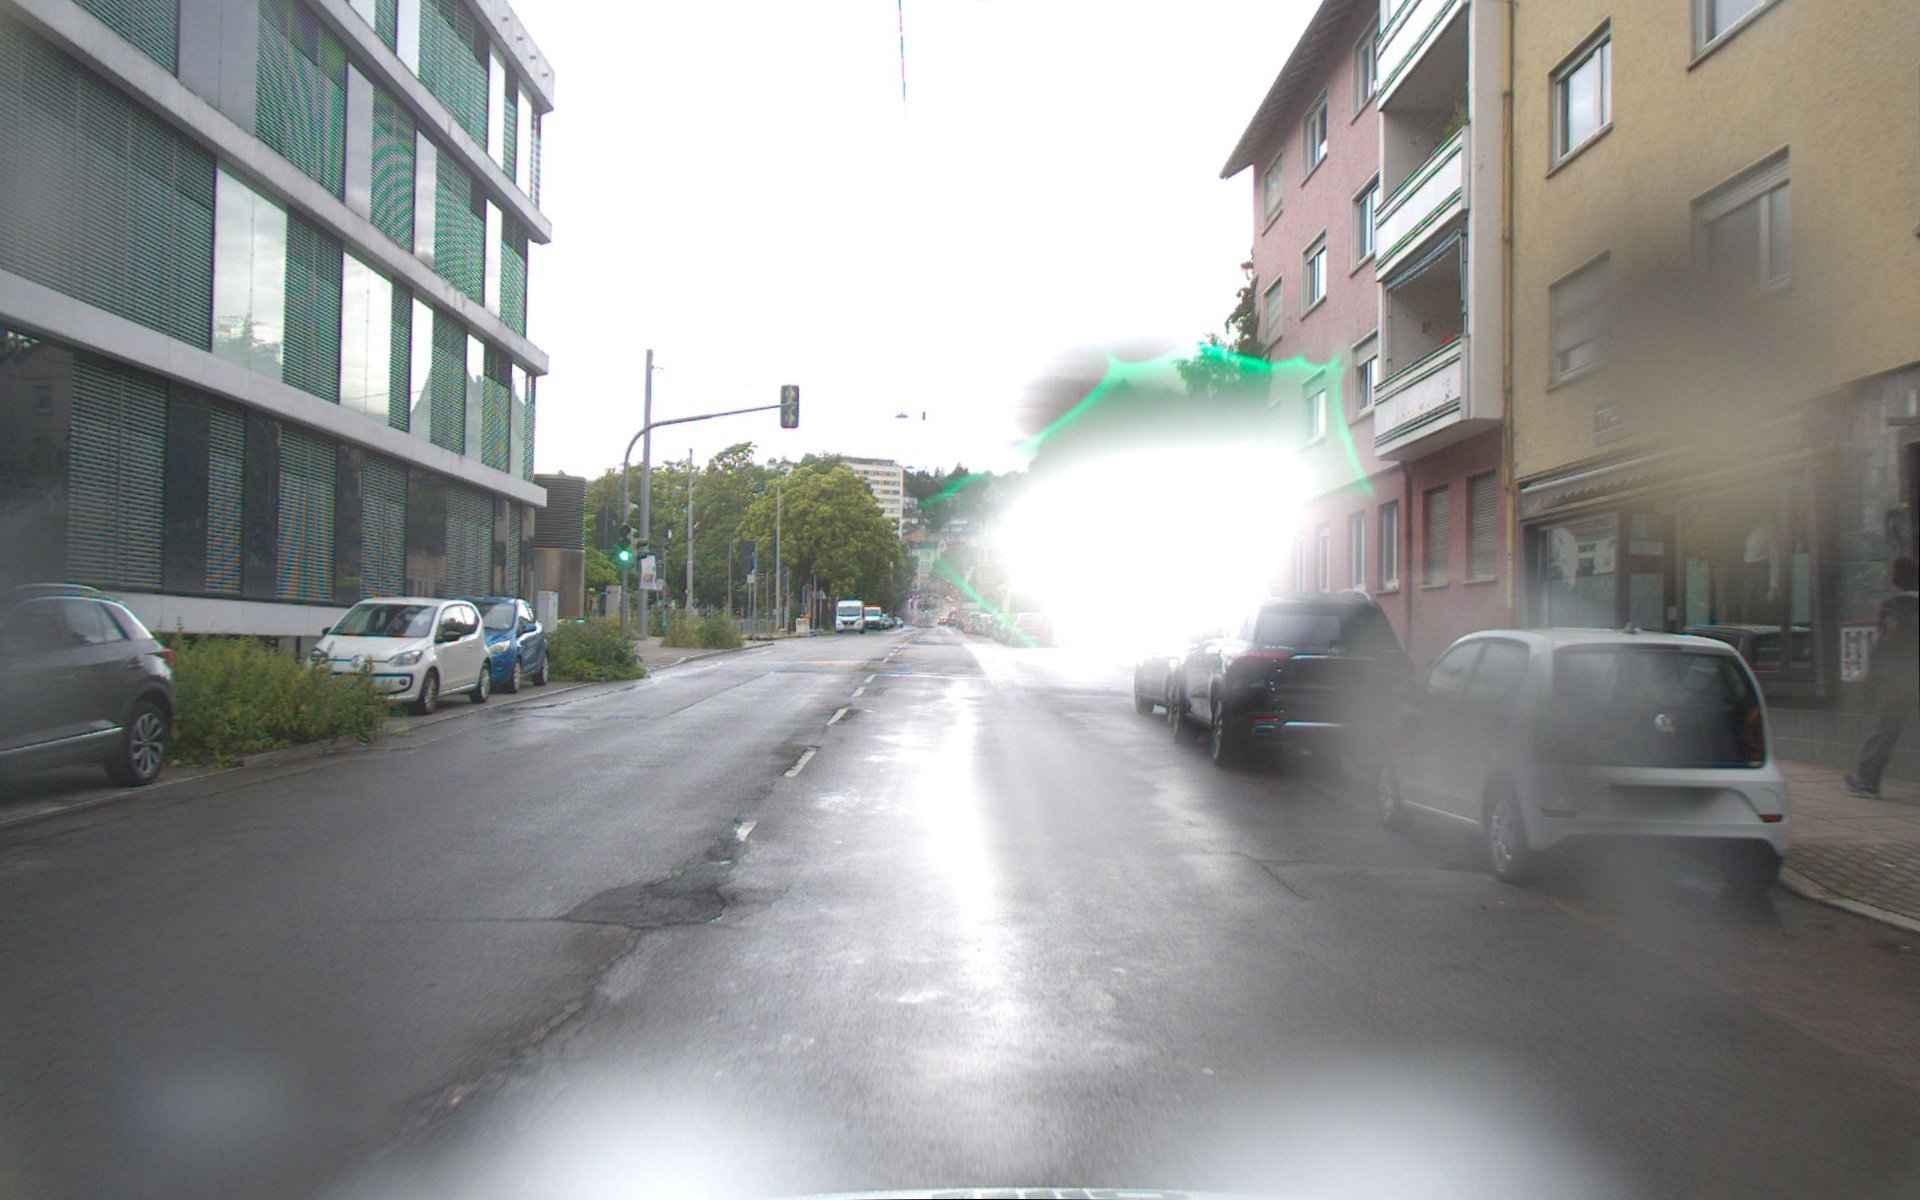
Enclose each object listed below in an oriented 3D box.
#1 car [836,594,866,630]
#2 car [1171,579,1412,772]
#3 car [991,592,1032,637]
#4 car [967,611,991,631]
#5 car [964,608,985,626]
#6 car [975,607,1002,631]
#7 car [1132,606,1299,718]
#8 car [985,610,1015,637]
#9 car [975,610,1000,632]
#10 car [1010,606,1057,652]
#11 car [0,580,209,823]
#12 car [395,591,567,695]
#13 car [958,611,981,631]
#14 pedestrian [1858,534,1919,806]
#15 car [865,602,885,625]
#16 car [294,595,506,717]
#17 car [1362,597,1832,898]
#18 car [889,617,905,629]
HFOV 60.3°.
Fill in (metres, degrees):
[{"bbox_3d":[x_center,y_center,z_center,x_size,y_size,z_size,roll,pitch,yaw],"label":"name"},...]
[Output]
[{"bbox_3d":[-8.191,0.914,124.587,2.063,2.591,4.747,2,-1,-3],"label":"car"},{"bbox_3d":[3.390,0.711,17.655,1.621,1.768,4.178,2,0,-1],"label":"car"},{"bbox_3d":[2.463,0.717,78.297,1.828,2.008,4.190,2,-1,2],"label":"car"},{"bbox_3d":[1.623,1.783,139.185,1.828,1.632,4.190,2,-1,2],"label":"car"},{"bbox_3d":[1.425,1.673,158.209,1.828,1.632,4.190,2,-1,2],"label":"car"},{"bbox_3d":[2.155,1.434,123.840,1.828,1.632,4.190,2,-1,2],"label":"car"},{"bbox_3d":[3.551,0.820,23.558,1.745,1.435,3.762,0,0,-1],"label":"car"},{"bbox_3d":[2.539,1.482,104.483,1.828,1.632,4.190,2,-1,2],"label":"car"},{"bbox_3d":[2.173,1.634,128.872,1.828,1.632,4.190,2,-1,2],"label":"car"},{"bbox_3d":[3.062,1.203,69.155,1.828,1.801,4.190,2,-1,2],"label":"car"},{"bbox_3d":[-7.298,0.665,11.794,1.764,1.632,4.234,2,-1,2],"label":"car"},{"bbox_3d":[-7.997,0.675,28.026,1.830,1.552,4.194,2,0,-3],"label":"car"},{"bbox_3d":[0.858,1.888,147.341,1.828,1.632,4.190,2,-1,2],"label":"car"},{"bbox_3d":[6.926,0.506,11.879,0.626,1.903,0.538,2,-1,1],"label":"pedestrian"},{"bbox_3d":[-8.418,1.388,163.440,1.830,2.179,4.354,2,-1,-4],"label":"car"},{"bbox_3d":[-7.569,0.707,22.710,1.562,1.485,3.719,2,0,1],"label":"car"},{"bbox_3d":[3.975,0.838,10.988,1.602,1.598,3.710,2,-1,-1],"label":"car"},{"bbox_3d":[-9.010,3.239,235.726,1.996,1.617,4.354,2,-1,-4],"label":"car"}]
